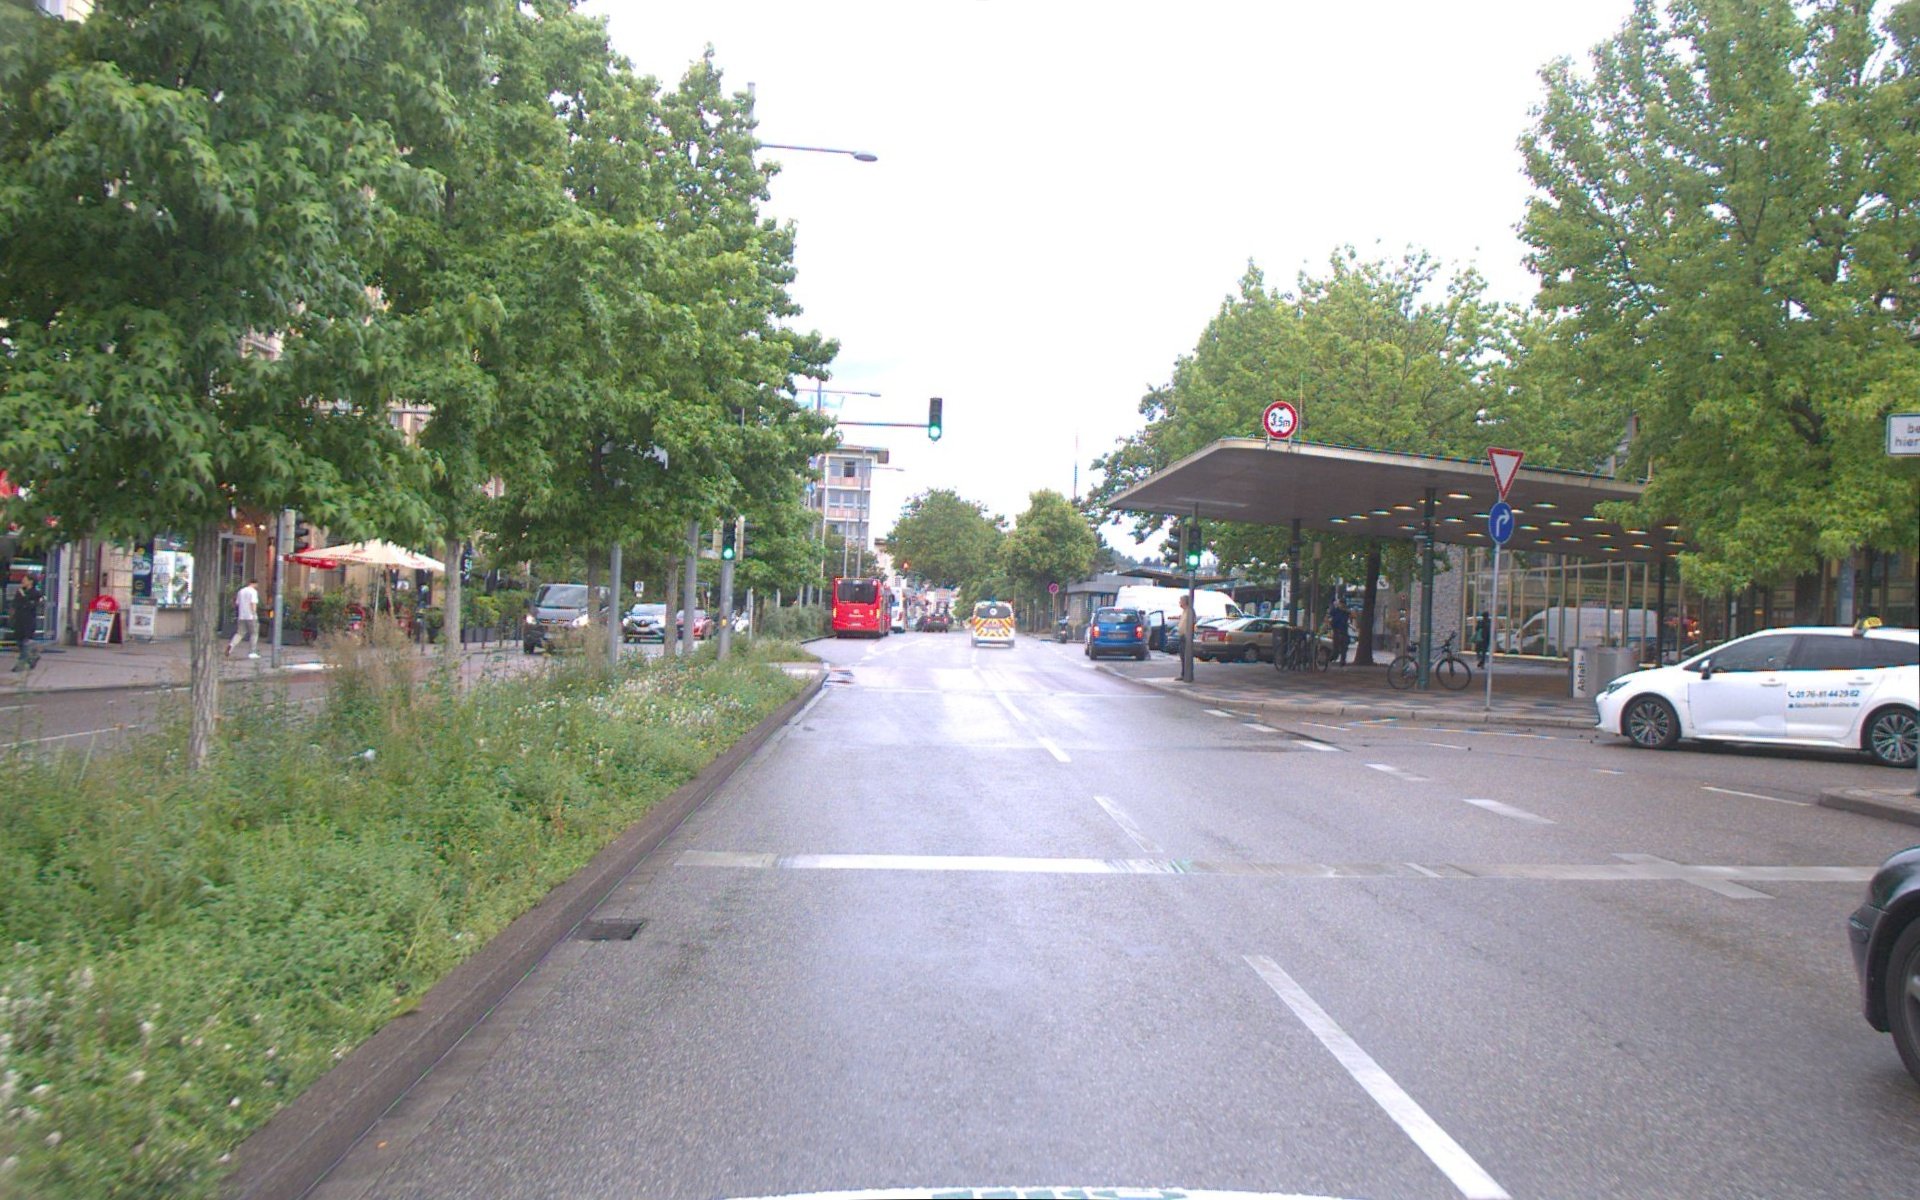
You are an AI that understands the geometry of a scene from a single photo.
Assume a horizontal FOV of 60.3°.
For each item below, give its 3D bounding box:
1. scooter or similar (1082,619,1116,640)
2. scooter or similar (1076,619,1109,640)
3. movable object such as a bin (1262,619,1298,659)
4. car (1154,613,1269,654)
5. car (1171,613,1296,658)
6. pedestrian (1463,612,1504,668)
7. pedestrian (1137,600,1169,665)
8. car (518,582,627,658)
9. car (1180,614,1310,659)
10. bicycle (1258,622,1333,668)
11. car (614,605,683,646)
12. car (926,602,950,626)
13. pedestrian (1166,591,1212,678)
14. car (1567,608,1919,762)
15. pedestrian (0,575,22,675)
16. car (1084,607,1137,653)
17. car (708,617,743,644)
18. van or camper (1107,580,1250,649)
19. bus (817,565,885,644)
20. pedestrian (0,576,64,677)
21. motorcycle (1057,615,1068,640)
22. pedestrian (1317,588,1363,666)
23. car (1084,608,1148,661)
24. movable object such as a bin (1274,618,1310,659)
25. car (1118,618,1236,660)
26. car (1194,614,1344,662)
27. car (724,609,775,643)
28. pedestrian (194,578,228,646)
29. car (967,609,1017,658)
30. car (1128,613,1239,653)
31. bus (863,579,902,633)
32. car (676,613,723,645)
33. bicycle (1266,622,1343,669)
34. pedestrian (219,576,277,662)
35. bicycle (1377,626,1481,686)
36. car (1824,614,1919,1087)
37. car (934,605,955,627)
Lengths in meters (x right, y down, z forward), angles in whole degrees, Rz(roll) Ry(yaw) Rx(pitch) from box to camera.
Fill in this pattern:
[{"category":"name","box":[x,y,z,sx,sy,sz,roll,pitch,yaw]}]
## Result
[{"category":"scooter or similar","box":[7.518,1.573,89.310,2.131,1.129,0.437,0,-1,-41]},{"category":"scooter or similar","box":[7.173,1.582,89.667,2.131,1.129,0.421,0,-1,-41]},{"category":"movable object such as a bin","box":[8.883,1.077,45.900,0.738,1.114,0.746,0,-1,-13]},{"category":"car","box":[9.423,1.266,61.877,3.941,1.468,1.847,1,-1,-28]},{"category":"car","box":[9.364,1.216,56.648,3.941,1.468,1.847,1,-1,-28]},{"category":"pedestrian","box":[14.979,1.128,47.344,0.849,1.586,0.812,0,-1,-8]},{"category":"pedestrian","box":[6.182,1.042,53.021,0.815,2.049,0.888,0,-1,-6]},{"category":"car","box":[-11.145,0.573,47.868,1.952,2.049,5.001,0,-1,0]},{"category":"car","box":[9.210,1.178,53.324,3.948,1.383,1.844,2,-1,-32]},{"category":"bicycle","box":[7.975,1.068,39.284,1.800,1.074,0.418,0,-1,-20]},{"category":"car","box":[-12.371,1.010,65.936,1.953,1.570,4.631,0,-1,-1]},{"category":"car","box":[-1.895,1.201,140.337,1.953,2.049,3.999,0,-1,-1]},{"category":"pedestrian","box":[4.768,0.717,34.520,0.732,1.777,0.834,1,-1,-10]},{"category":"car","box":[9.458,0.890,18.635,1.747,1.573,4.706,1,-1,-40]},{"category":"pedestrian","box":[-16.594,0.424,28.256,0.667,1.693,0.807,0,-1,2]},{"category":"car","box":[5.298,1.069,58.628,1.750,1.549,3.683,1,-1,3]},{"category":"car","box":[-13.576,1.753,95.750,1.565,1.558,3.652,0,-1,-1]},{"category":"van or camper","box":[9.286,0.615,70.133,5.880,2.811,2.178,0,-1,-29]},{"category":"bus","box":[-5.888,0.301,91.155,3.474,4.049,11.165,0,-1,-3]},{"category":"pedestrian","box":[-15.858,0.454,28.265,0.667,1.693,0.807,0,-1,-1]},{"category":"motorcycle","box":[5.385,1.451,86.904,0.582,1.311,1.954,0,0,4]},{"category":"pedestrian","box":[9.260,0.671,40.347,0.839,1.867,1.189,0,-1,-2]},{"category":"car","box":[4.925,1.101,52.660,1.820,1.596,4.001,1,-1,2]},{"category":"movable object such as a bin","box":[8.981,1.041,44.712,0.737,1.086,0.747,0,-1,-10]},{"category":"car","box":[7.925,1.430,60.391,3.941,1.468,1.847,1,-1,-28]},{"category":"car","box":[9.271,1.143,49.659,4.125,1.348,1.828,1,-1,-22]},{"category":"car","box":[-10.075,1.220,79.515,1.953,1.570,4.631,0,-1,-1]},{"category":"pedestrian","box":[-18.811,0.295,41.567,0.654,1.693,0.535,0,-1,-10]},{"category":"car","box":[1.336,1.420,71.635,1.953,2.049,5.060,0,-1,-1]},{"category":"car","box":[8.653,1.293,64.054,3.941,1.468,1.847,1,-1,-28]},{"category":"bus","box":[-5.681,0.458,121.025,2.749,3.812,10.438,0,-1,-3]},{"category":"car","box":[-12.442,1.365,79.158,1.712,1.455,3.952,0,-1,-1]},{"category":"bicycle","box":[8.095,1.068,38.839,1.800,1.074,0.418,0,-1,-20]},{"category":"pedestrian","box":[-15.965,0.433,37.088,0.862,1.844,0.750,-4,-1,-2]},{"category":"bicycle","box":[8.632,1.026,30.458,1.790,1.074,0.420,0,-1,-2]},{"category":"car","box":[4.081,0.768,3.586,1.662,1.491,4.444,0,-1,-7]},{"category":"car","box":[-1.457,1.477,155.636,1.953,2.049,3.999,0,-1,-1]}]
